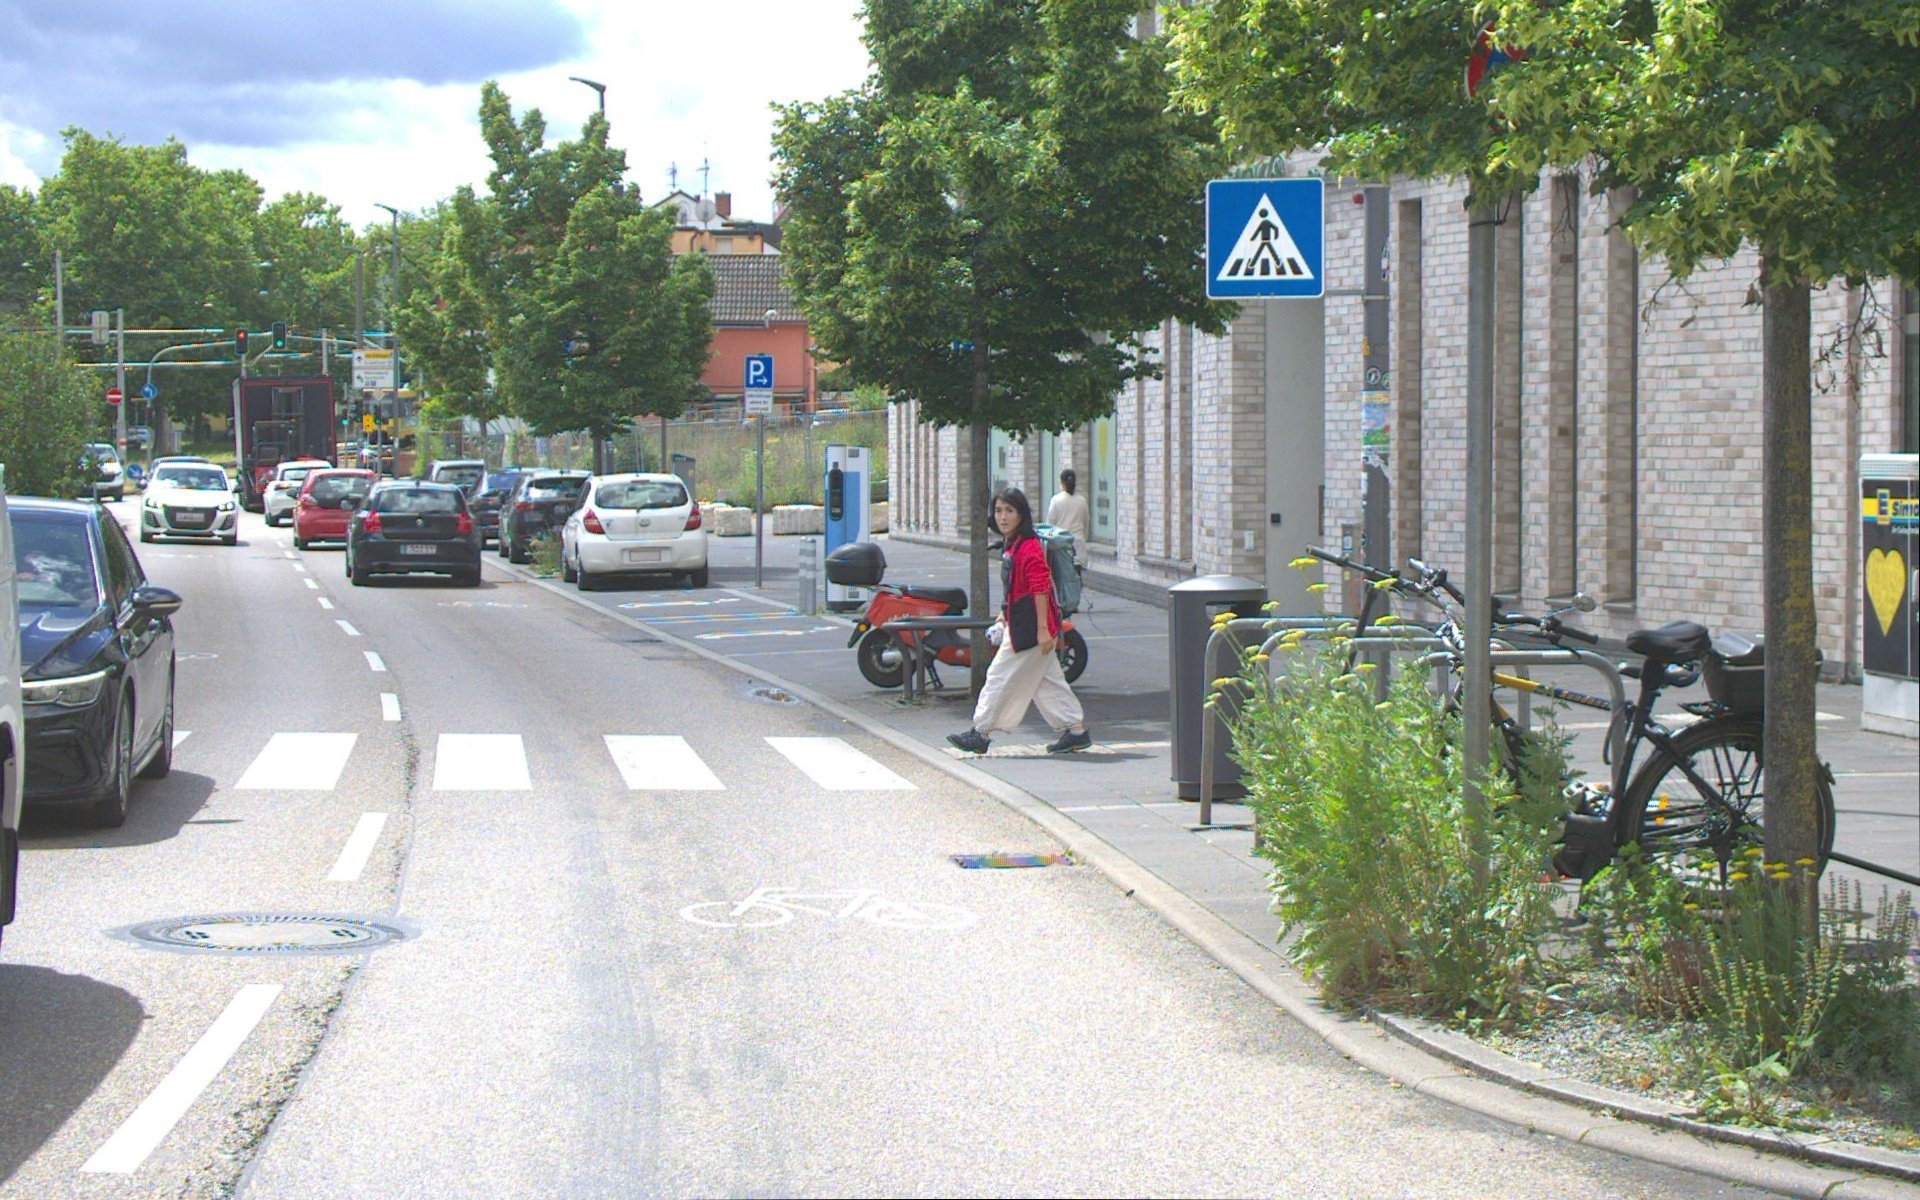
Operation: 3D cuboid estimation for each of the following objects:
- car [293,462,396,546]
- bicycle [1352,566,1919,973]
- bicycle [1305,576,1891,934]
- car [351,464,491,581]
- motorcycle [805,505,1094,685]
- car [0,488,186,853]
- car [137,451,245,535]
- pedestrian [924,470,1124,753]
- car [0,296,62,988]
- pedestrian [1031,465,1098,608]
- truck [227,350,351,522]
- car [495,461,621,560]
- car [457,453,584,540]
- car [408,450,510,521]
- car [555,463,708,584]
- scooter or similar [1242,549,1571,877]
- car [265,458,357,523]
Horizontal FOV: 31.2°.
[{"bbox_3d":[-11.092,-1.747,61.820,1.711,1.388,3.810,-1,3,-12],"label":"car"},{"bbox_3d":[2.234,0.515,10.957,1.822,1.196,0.756,-1,2,-5],"label":"bicycle"},{"bbox_3d":[2.162,0.508,11.775,1.822,1.127,0.756,-1,2,-5],"label":"bicycle"},{"bbox_3d":[-7.420,-1.097,47.138,1.726,1.451,3.810,-1,3,-11],"label":"car"},{"bbox_3d":[-0.070,-0.042,25.530,2.051,1.261,0.672,-2,1,6],"label":"motorcycle"},{"bbox_3d":[-4.679,0.219,16.113,1.772,1.459,4.236,1,2,-9],"label":"car"},{"bbox_3d":[-14.094,-1.986,63.119,1.811,1.464,3.909,1,2,-11],"label":"car"},{"bbox_3d":[0.355,0.065,19.514,0.927,1.560,0.815,1,0,-14],"label":"pedestrian"},{"bbox_3d":[-3.566,0.166,8.083,1.993,2.006,5.396,2,2,-6],"label":"car"},{"bbox_3d":[1.092,-0.674,36.071,0.607,1.467,0.791,-1,3,-4],"label":"pedestrian"},{"bbox_3d":[-18.916,-4.488,96.568,3.202,4.520,9.032,1,1,-12],"label":"truck"},{"bbox_3d":[-6.481,-1.471,55.100,1.692,1.456,4.148,-2,3,-11],"label":"car"},{"bbox_3d":[-7.922,-1.886,61.653,1.864,1.446,4.645,-2,3,-12],"label":"car"},{"bbox_3d":[-11.078,-2.541,75.816,1.781,1.446,4.478,-2,3,-14],"label":"car"},{"bbox_3d":[-4.434,-1.059,45.972,1.692,1.478,3.799,-2,3,-10],"label":"car"},{"bbox_3d":[1.763,0.434,13.638,1.196,1.245,0.494,-1,2,-5],"label":"scooter or similar"},{"bbox_3d":[-15.275,-2.580,80.758,1.887,1.460,4.071,-1,2,-14],"label":"car"}]
